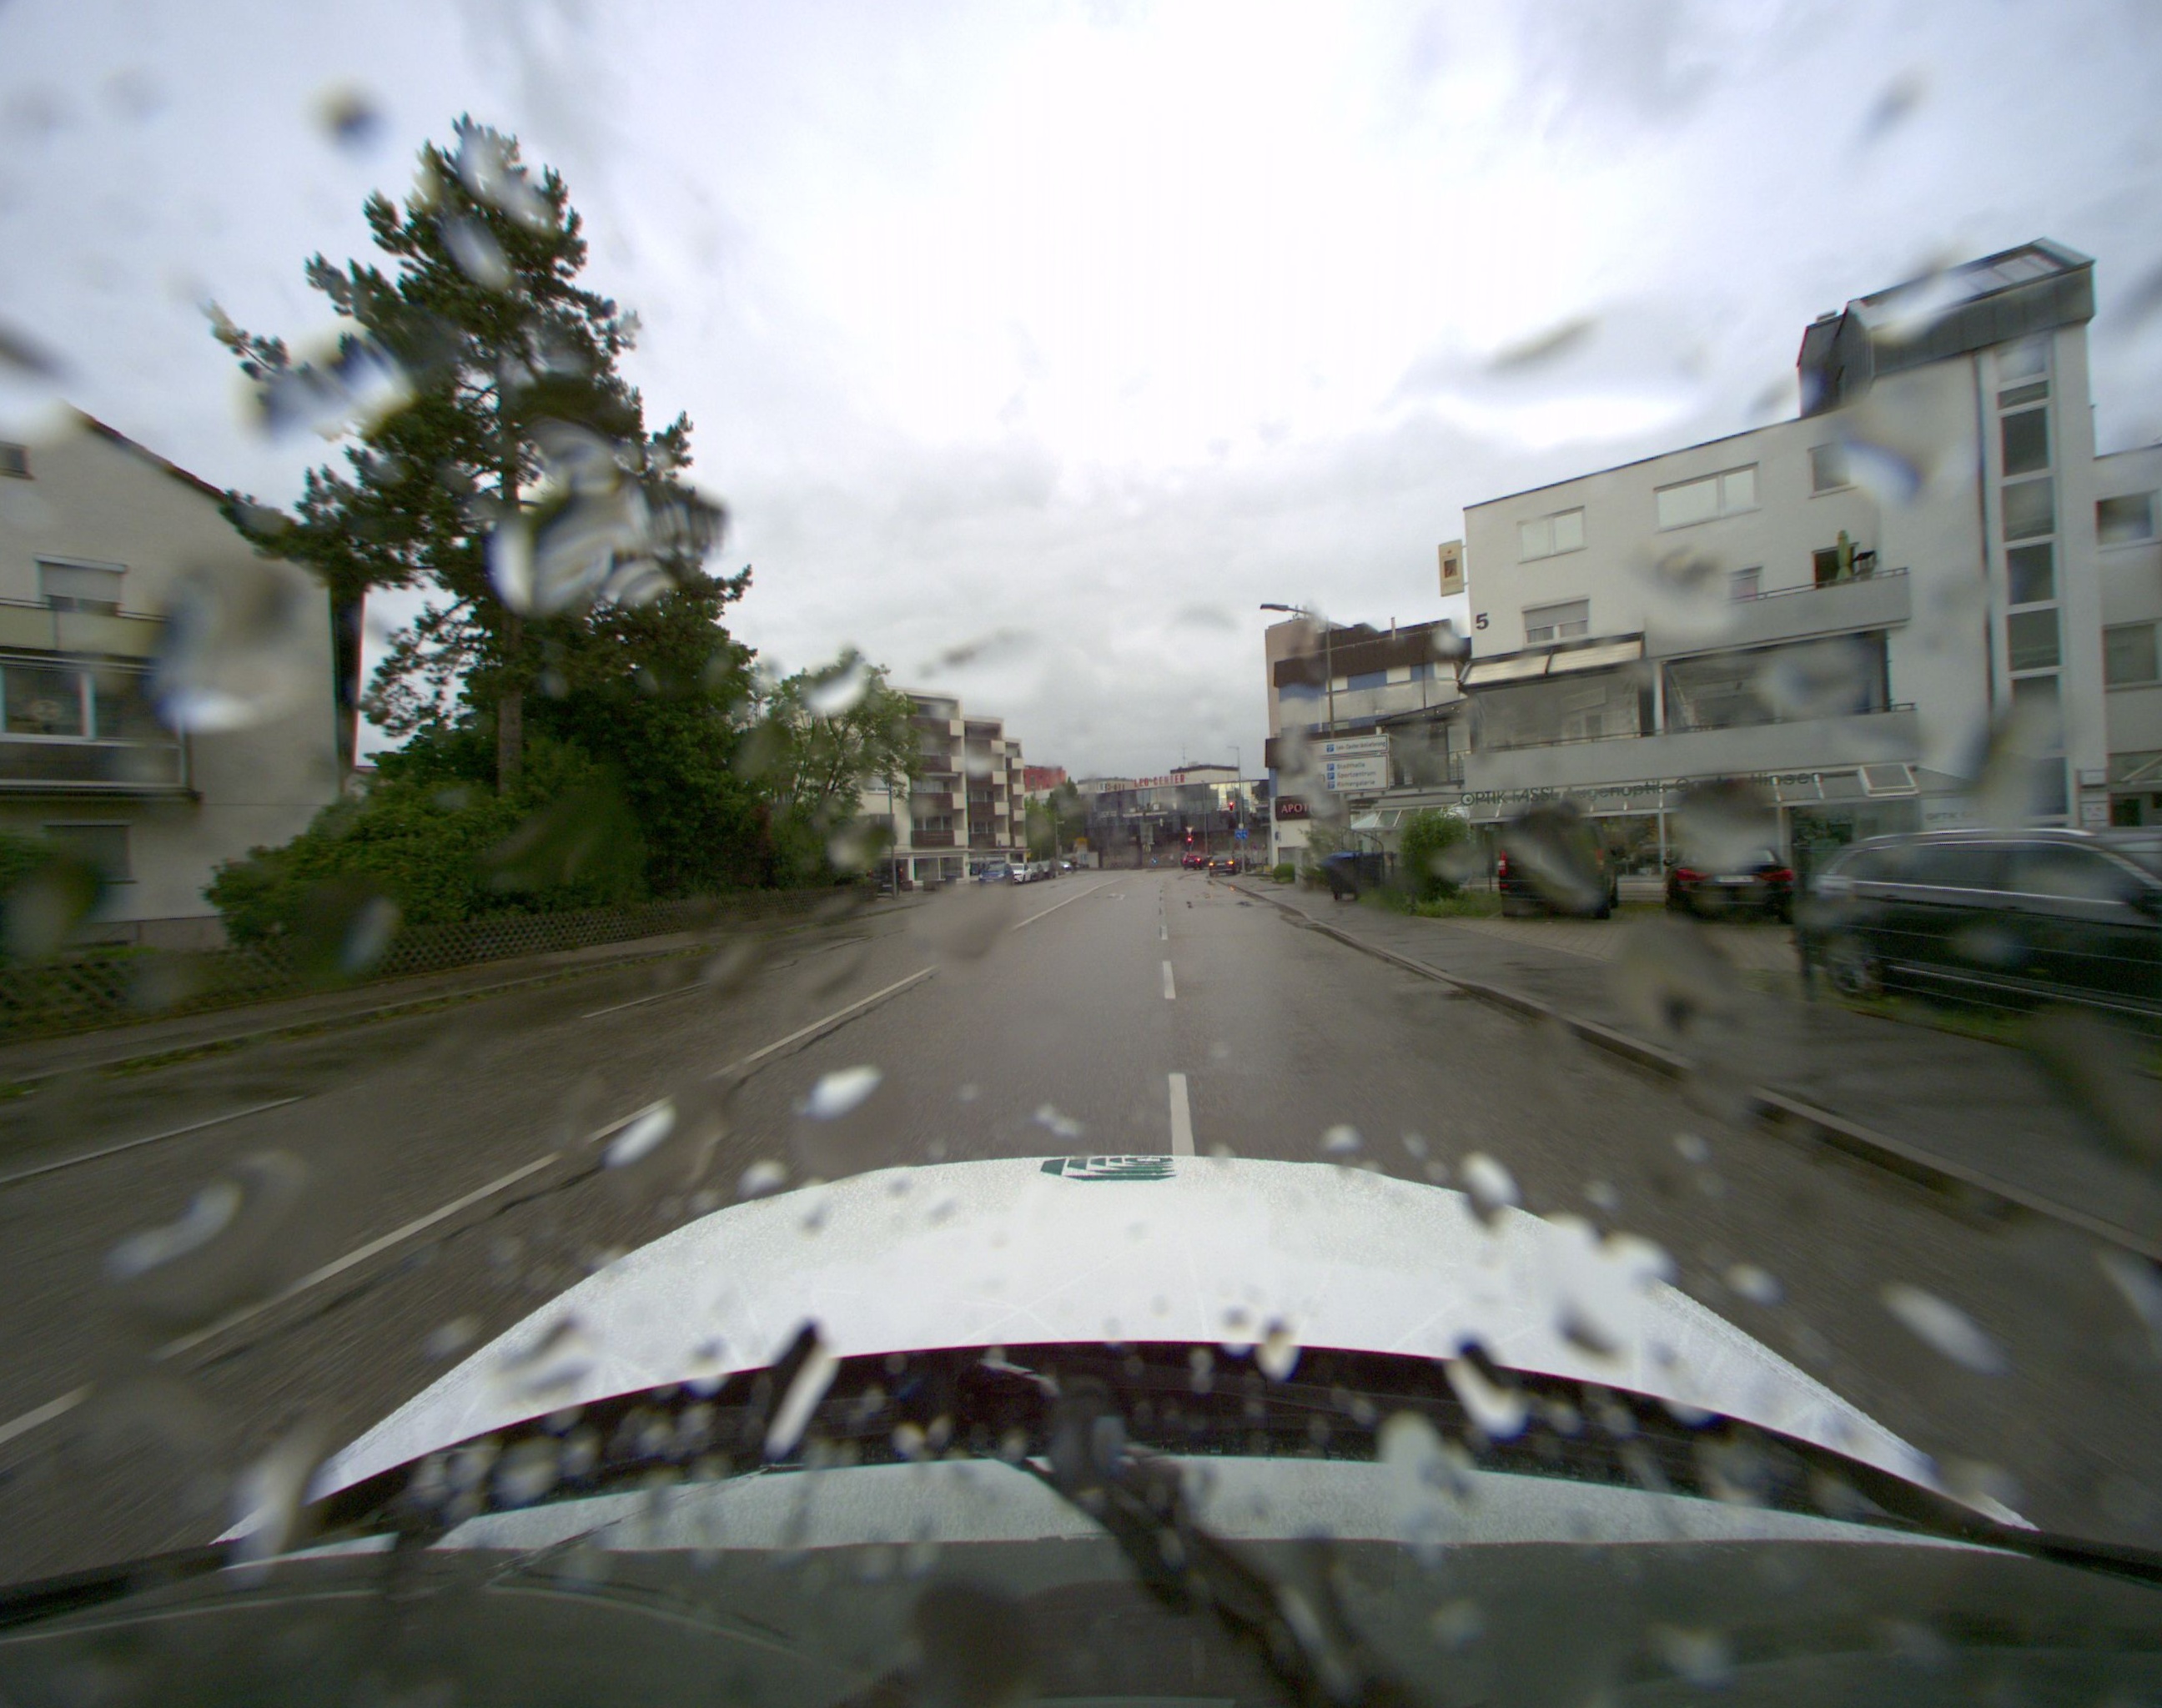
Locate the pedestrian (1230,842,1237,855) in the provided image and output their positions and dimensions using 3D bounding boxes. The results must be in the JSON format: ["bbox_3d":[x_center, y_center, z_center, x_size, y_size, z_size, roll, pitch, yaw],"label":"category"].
[{"bbox_3d":[22.967,-0.806,122.673,0.781,2.014,0.673,-3,-1,17],"label":"pedestrian"}]

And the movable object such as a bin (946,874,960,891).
[{"bbox_3d":[-7.700,1.735,49.010,0.644,0.966,0.684,-3,-1,7],"label":"movable object such as a bin"}]

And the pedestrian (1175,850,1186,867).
[{"bbox_3d":[10.064,0.446,82.426,0.912,1.659,0.750,1,1,-21],"label":"pedestrian"}]

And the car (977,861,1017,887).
[{"bbox_3d":[-5.407,1.298,52.936,1.643,1.521,4.333,-2,0,7],"label":"car"}]

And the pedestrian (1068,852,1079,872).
[{"bbox_3d":[-0.817,0.832,84.659,0.741,2.013,0.927,1,0,28],"label":"pedestrian"}]

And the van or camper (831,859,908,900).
[{"bbox_3d":[-11.268,1.287,43.067,2.010,1.924,5.159,-4,2,-38],"label":"van or camper"}]

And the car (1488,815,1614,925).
[{"bbox_3d":[10.074,0.270,17.420,1.974,2.013,4.810,-3,0,31],"label":"car"}]

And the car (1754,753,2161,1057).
[{"bbox_3d":[7.414,0.254,5.610,1.983,1.785,4.699,-3,0,6],"label":"car"}]

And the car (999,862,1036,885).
[{"bbox_3d":[-4.557,1.368,58.919,1.684,1.464,4.694,-2,0,7],"label":"car"}]

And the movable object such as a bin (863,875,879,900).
[{"bbox_3d":[-9.828,1.581,38.115,0.598,1.118,0.600,-3,-1,-6],"label":"movable object such as a bin"}]

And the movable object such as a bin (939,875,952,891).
[{"bbox_3d":[-8.232,1.764,49.599,0.571,0.903,0.599,-3,-1,7],"label":"movable object such as a bin"}]

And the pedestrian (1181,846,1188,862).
[{"bbox_3d":[10.574,0.018,83.335,0.607,1.659,0.673,1,1,2],"label":"pedestrian"}]

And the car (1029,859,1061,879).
[{"bbox_3d":[-3.022,1.232,69.484,1.924,1.541,4.282,-2,0,7],"label":"car"}]

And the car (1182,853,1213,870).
[{"bbox_3d":[10.801,0.646,75.310,1.788,1.419,4.023,-3,0,24],"label":"car"}]

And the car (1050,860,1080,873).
[{"bbox_3d":[-2.142,1.602,105.247,2.006,1.512,4.391,1,1,-30],"label":"car"}]

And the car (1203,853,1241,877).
[{"bbox_3d":[9.701,0.797,55.924,1.978,1.534,4.667,-2,-1,17],"label":"car"}]

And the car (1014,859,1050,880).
[{"bbox_3d":[-3.779,1.183,63.994,1.924,1.541,4.530,-2,0,7],"label":"car"}]
